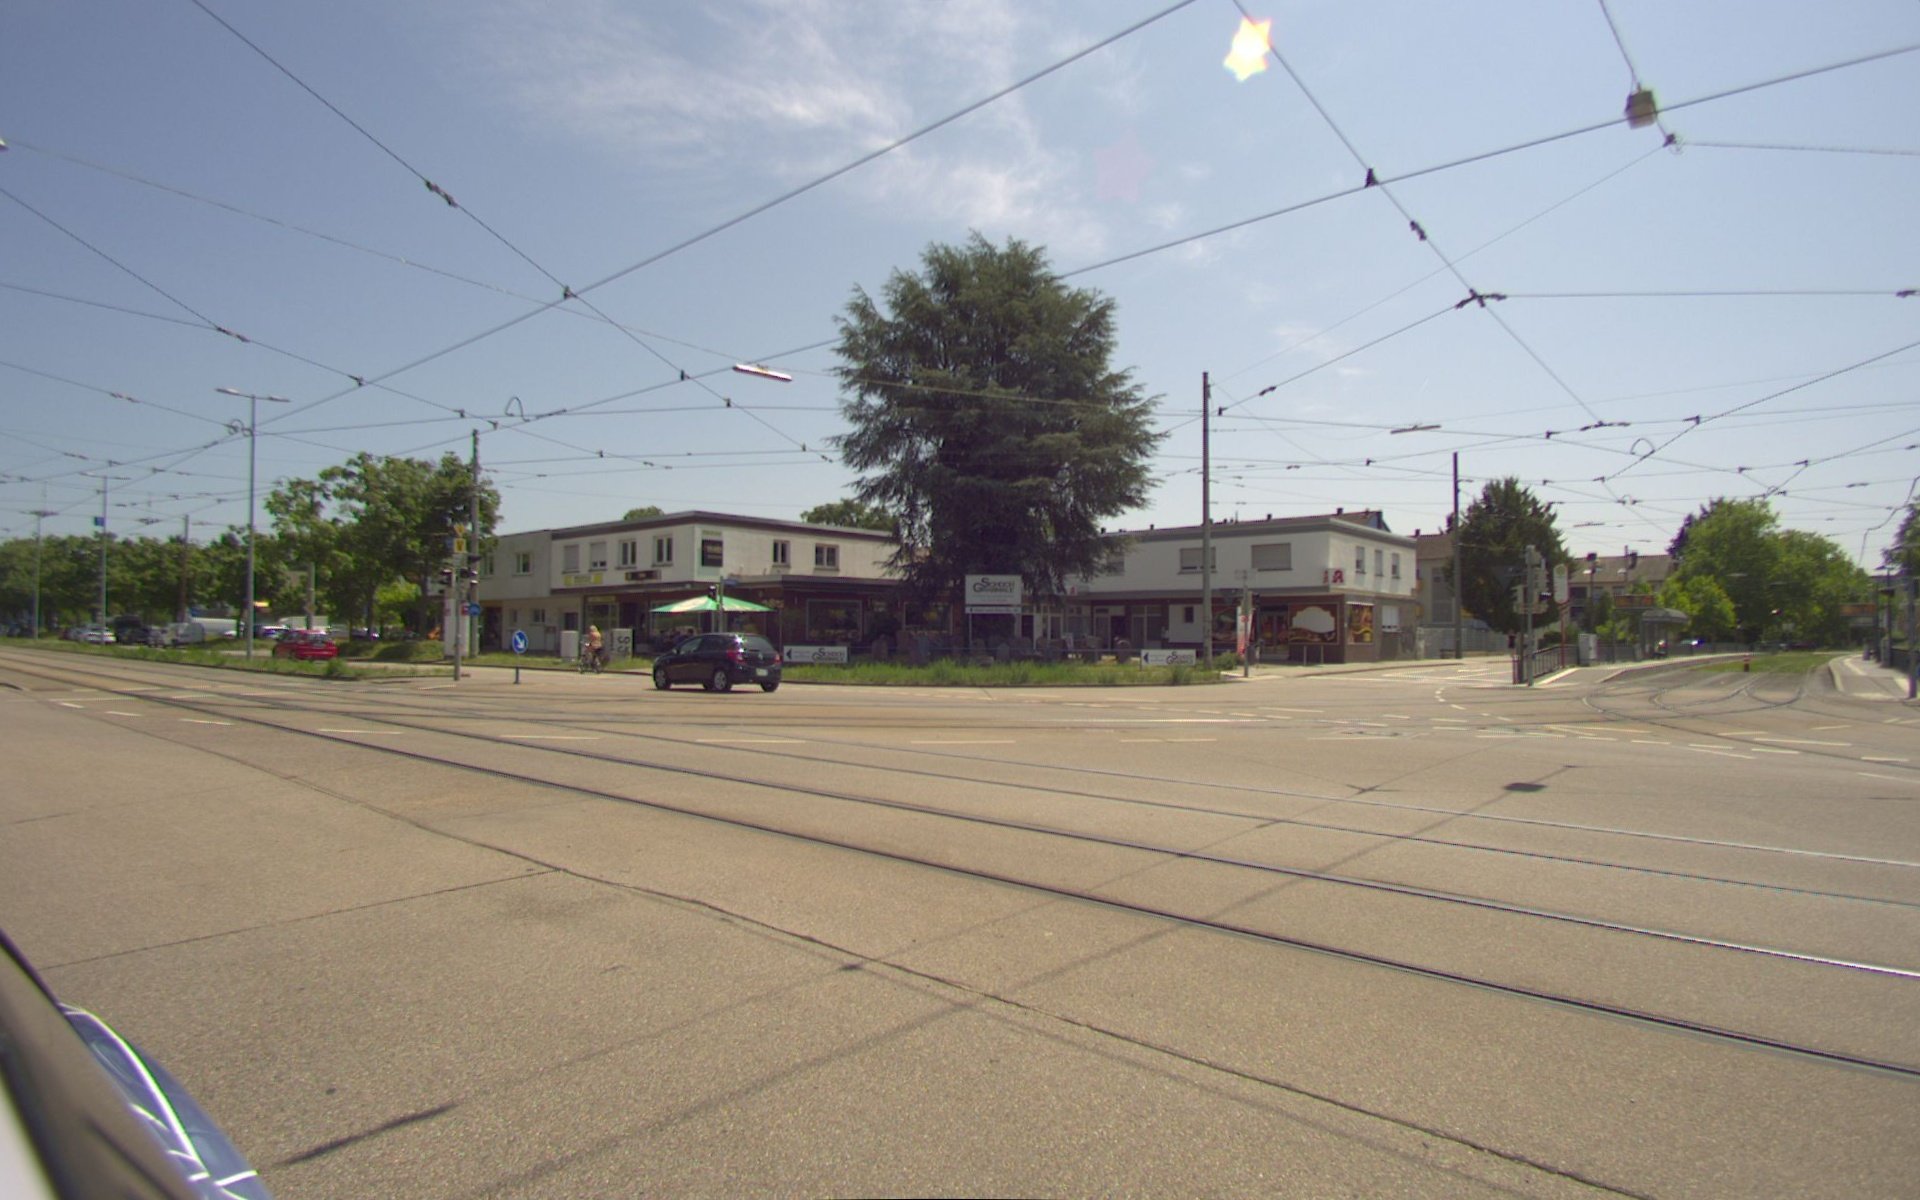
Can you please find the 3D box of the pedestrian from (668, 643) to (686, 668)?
[{"bbox_3d":[-13.762,2.701,49.218,0.674,1.208,0.512,-2,-3,41],"label":"pedestrian"}]

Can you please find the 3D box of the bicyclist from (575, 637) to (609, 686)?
[{"bbox_3d":[-13.629,2.273,37.445,1.136,1.779,0.687,-3,-4,40],"label":"bicyclist"}]

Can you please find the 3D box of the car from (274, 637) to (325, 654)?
[{"bbox_3d":[-57.600,3.963,88.346,1.600,1.404,3.374,-1,-3,36],"label":"car"}]

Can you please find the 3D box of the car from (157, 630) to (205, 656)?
[{"bbox_3d":[-58.837,3.257,76.420,4.660,1.898,1.972,-2,-3,41],"label":"car"}]

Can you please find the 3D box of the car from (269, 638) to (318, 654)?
[{"bbox_3d":[-59.763,4.105,90.772,1.600,1.404,3.374,-1,-3,36],"label":"car"}]

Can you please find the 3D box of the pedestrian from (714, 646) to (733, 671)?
[{"bbox_3d":[-10.813,2.663,46.261,0.674,1.136,0.512,-2,-3,41],"label":"pedestrian"}]

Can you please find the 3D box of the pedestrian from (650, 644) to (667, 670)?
[{"bbox_3d":[-14.611,2.781,49.070,0.491,1.248,0.569,-2,-3,40],"label":"pedestrian"}]

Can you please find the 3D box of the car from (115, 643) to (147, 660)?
[{"bbox_3d":[-71.472,4.396,87.230,3.669,1.397,1.652,-2,-3,43],"label":"car"}]

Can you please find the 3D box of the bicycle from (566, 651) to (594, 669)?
[{"bbox_3d":[-19.512,3.085,51.931,1.786,0.854,0.522,-1,-1,41],"label":"bicycle"}]

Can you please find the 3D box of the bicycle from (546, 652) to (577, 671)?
[{"bbox_3d":[-20.047,3.089,50.906,1.958,0.854,0.596,-1,-1,41],"label":"bicycle"}]

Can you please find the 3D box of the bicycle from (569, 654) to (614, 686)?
[{"bbox_3d":[-13.653,2.585,37.451,1.930,1.157,0.687,-3,-4,41],"label":"bicycle"}]

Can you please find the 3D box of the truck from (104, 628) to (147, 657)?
[{"bbox_3d":[-75.542,3.814,91.557,4.927,2.561,2.196,-2,-4,42],"label":"truck"}]

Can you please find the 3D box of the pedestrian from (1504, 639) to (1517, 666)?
[{"bbox_3d":[39.706,3.801,73.059,0.679,1.917,0.640,-2,-3,41],"label":"pedestrian"}]

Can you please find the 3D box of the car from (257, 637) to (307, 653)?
[{"bbox_3d":[-61.720,4.123,92.145,1.600,1.404,3.374,-1,-3,36],"label":"car"}]

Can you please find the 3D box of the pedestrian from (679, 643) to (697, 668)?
[{"bbox_3d":[-13.363,2.737,49.704,0.674,1.218,0.512,-2,-3,41],"label":"pedestrian"}]

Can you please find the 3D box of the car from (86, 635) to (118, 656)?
[{"bbox_3d":[-85.454,4.531,100.776,4.506,1.989,1.660,-2,-4,40],"label":"car"}]

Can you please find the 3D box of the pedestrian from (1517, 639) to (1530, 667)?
[{"bbox_3d":[40.299,3.785,72.373,0.679,1.917,0.640,-2,-3,41],"label":"pedestrian"}]

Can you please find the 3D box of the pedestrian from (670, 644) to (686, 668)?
[{"bbox_3d":[-14.066,2.787,50.485,0.674,1.172,0.512,-2,-3,41],"label":"pedestrian"}]

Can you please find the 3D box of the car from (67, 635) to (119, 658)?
[{"bbox_3d":[-64.041,3.439,74.735,4.132,1.564,1.975,-1,-5,37],"label":"car"}]

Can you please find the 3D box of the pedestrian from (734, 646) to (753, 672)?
[{"bbox_3d":[-9.671,2.641,45.220,0.674,1.136,0.512,-2,-3,41],"label":"pedestrian"}]

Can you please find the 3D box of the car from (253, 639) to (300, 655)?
[{"bbox_3d":[-65.205,4.463,96.615,1.600,1.517,3.374,-1,-3,36],"label":"car"}]

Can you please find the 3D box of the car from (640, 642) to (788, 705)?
[{"bbox_3d":[-6.284,1.807,25.677,3.862,1.450,1.692,-2,-3,40],"label":"car"}]

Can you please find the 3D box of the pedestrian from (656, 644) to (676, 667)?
[{"bbox_3d":[-14.490,2.744,49.907,0.810,1.136,0.558,-2,-3,41],"label":"pedestrian"}]

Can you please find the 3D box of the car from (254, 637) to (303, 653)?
[{"bbox_3d":[-63.566,4.193,94.440,1.600,1.404,3.374,-1,-3,36],"label":"car"}]

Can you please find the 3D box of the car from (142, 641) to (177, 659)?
[{"bbox_3d":[-63.842,3.995,80.685,3.568,1.397,1.652,-2,-4,43],"label":"car"}]

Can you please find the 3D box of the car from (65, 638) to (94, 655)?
[{"bbox_3d":[-93.465,4.955,107.460,4.200,1.807,1.660,-2,-4,40],"label":"car"}]

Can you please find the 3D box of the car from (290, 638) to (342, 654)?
[{"bbox_3d":[-55.533,3.965,87.289,1.600,1.404,3.374,-1,-3,36],"label":"car"}]

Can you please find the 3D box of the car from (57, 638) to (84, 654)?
[{"bbox_3d":[-98.495,5.119,112.011,3.821,1.716,1.660,-2,-4,40],"label":"car"}]

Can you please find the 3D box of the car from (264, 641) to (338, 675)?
[{"bbox_3d":[-30.067,2.617,46.134,3.822,1.495,1.609,-1,-3,37],"label":"car"}]
